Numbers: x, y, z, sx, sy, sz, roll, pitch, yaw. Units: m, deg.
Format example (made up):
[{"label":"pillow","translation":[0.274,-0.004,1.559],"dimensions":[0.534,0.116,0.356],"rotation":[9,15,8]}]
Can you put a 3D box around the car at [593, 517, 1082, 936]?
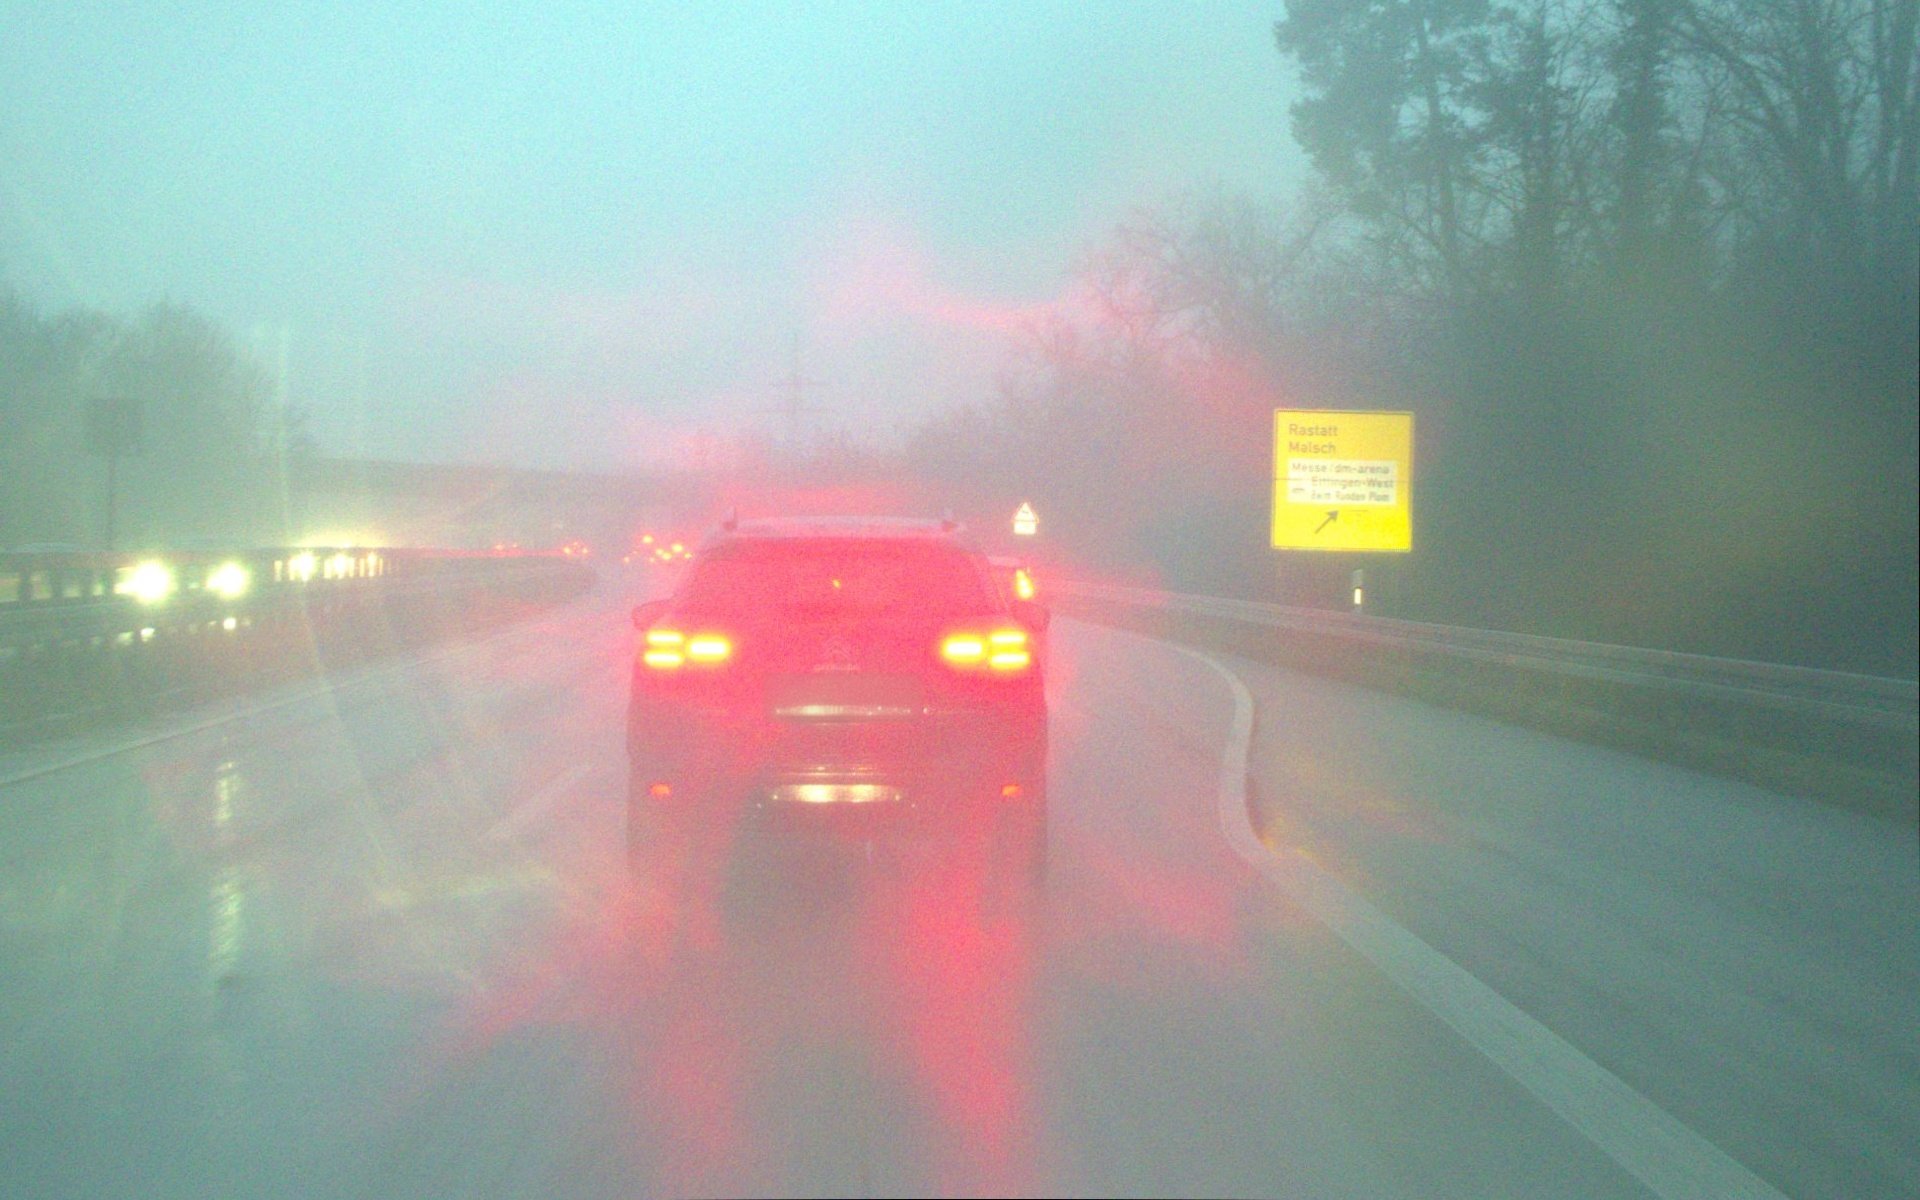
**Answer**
[{"label":"car","translation":[-0.578,0.495,16.048],"dimensions":[1.992,1.709,3.830],"rotation":[1,1,-2]}]

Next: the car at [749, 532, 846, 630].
[{"label":"car","translation":[-3.430,-0.424,73.052],"dimensions":[1.993,2.007,4.000],"rotation":[1,1,-2]}]

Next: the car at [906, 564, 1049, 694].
[{"label":"car","translation":[0.192,0.302,39.856],"dimensions":[1.569,1.403,3.646],"rotation":[1,1,0]}]

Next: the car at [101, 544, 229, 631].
[{"label":"car","translation":[-14.163,-0.235,61.391],"dimensions":[1.559,1.494,3.431],"rotation":[1,1,-2]}]
